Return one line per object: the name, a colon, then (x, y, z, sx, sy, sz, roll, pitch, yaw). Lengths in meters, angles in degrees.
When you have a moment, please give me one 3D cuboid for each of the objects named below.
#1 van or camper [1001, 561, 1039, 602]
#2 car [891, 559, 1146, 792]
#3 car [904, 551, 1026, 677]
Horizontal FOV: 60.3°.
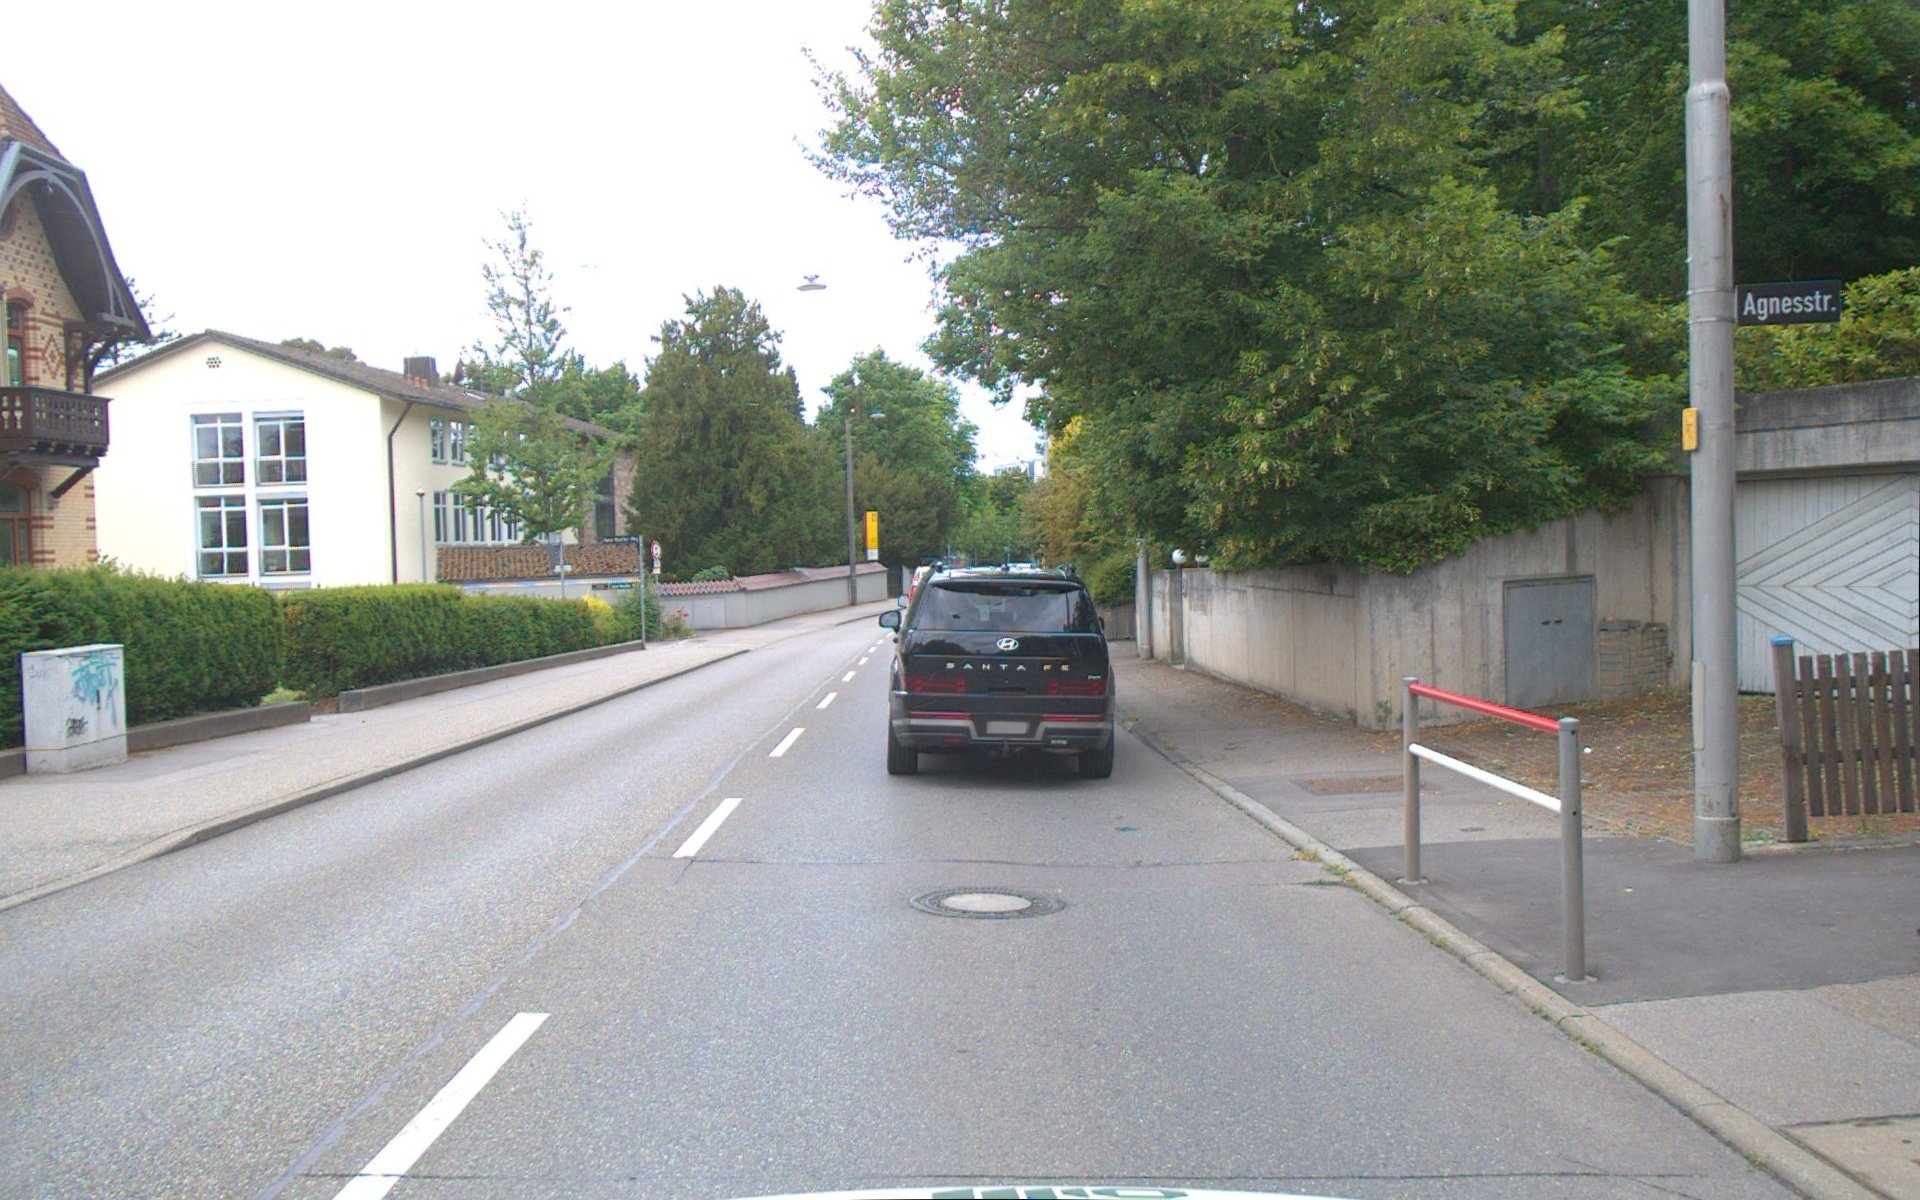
van or camper: (3.328, -1.043, 91.215, 1.640, 2.042, 3.942, -2, 2, 7)
car: (0.416, 0.547, 14.679, 1.917, 1.742, 4.223, 1, 1, -1)
car: (0.161, 0.164, 29.023, 1.916, 1.989, 4.226, 1, 2, 3)
